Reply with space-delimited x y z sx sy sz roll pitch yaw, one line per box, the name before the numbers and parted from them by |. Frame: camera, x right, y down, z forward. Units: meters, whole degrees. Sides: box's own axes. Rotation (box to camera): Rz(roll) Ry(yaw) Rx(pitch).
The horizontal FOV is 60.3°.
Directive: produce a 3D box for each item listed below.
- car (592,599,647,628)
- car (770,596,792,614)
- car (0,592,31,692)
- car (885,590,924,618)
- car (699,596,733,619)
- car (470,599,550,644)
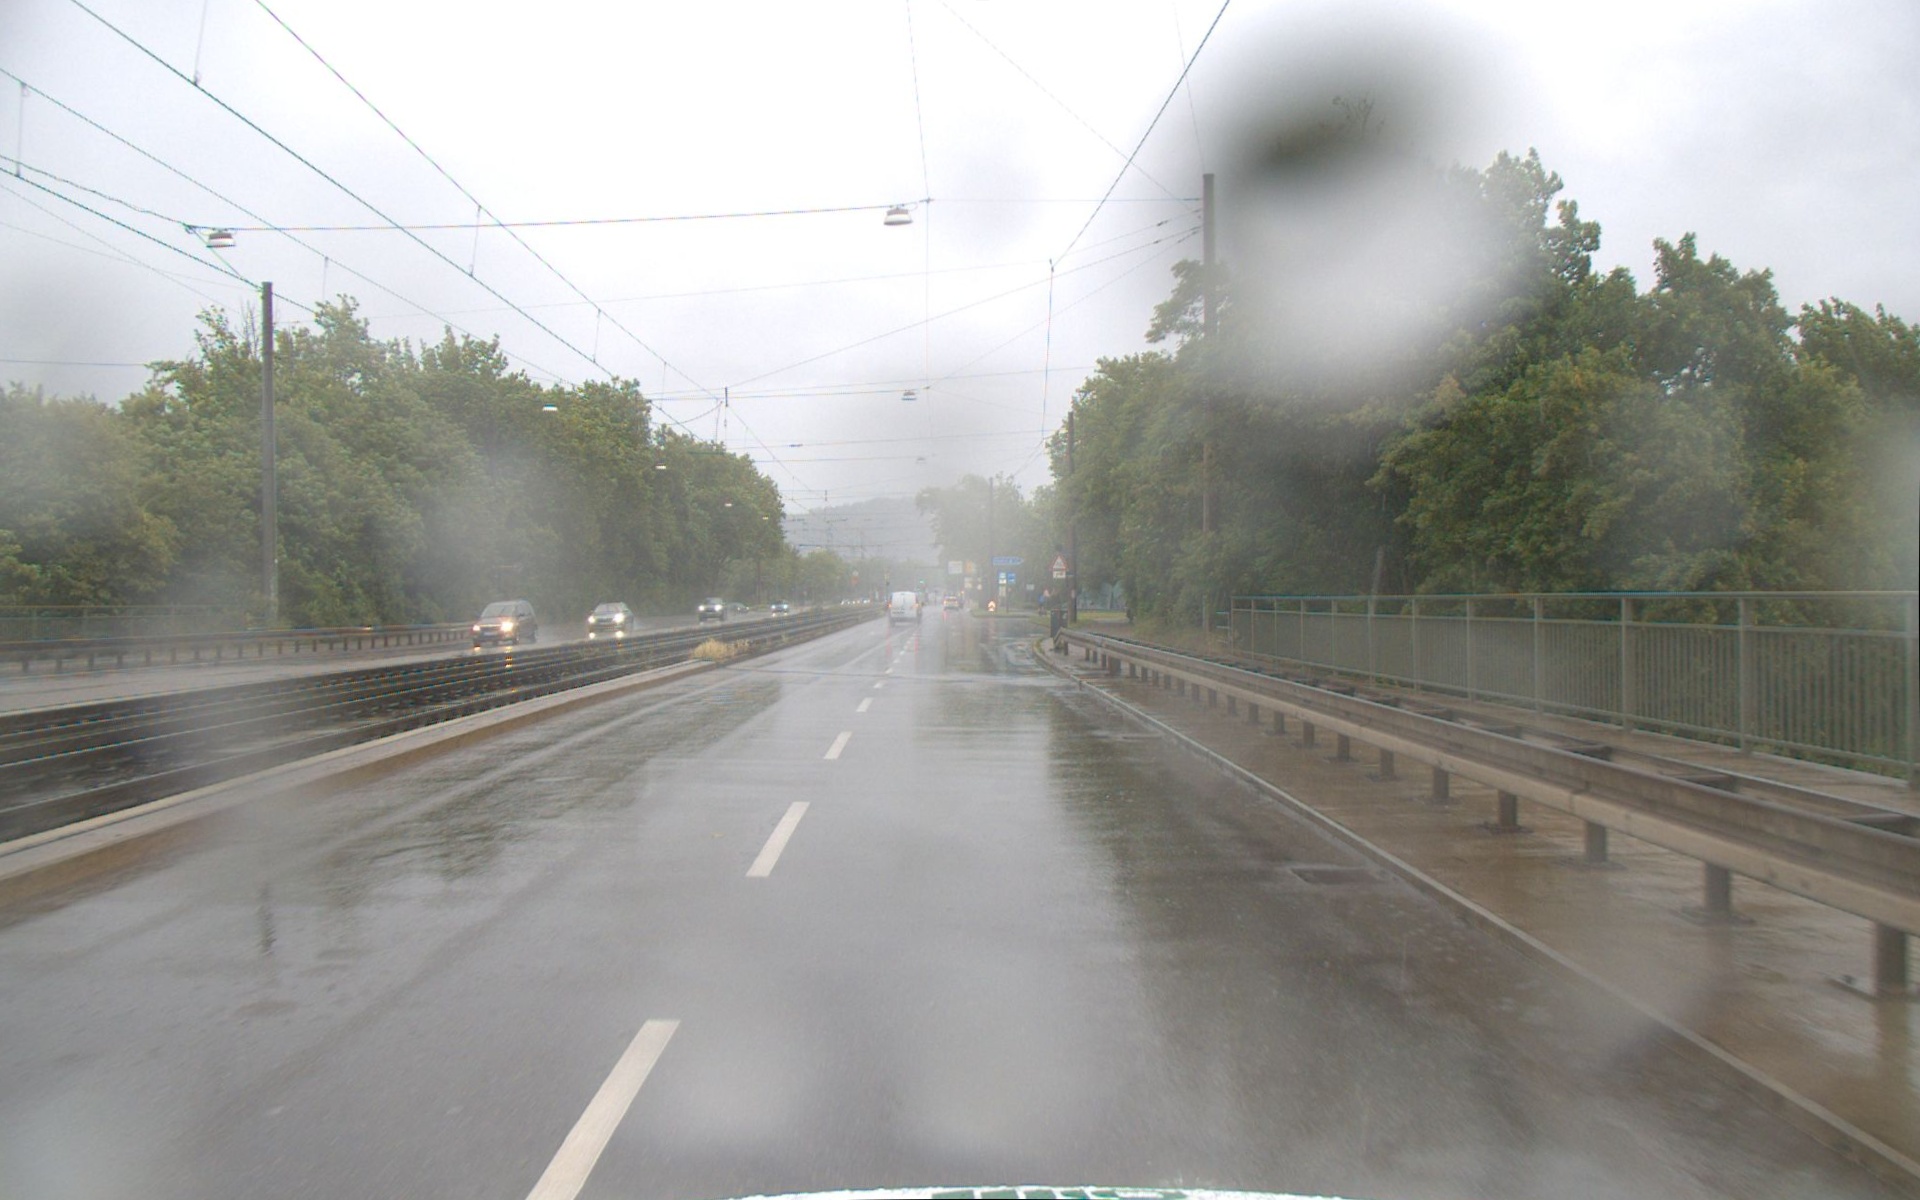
car | -17.479 0.670 85.192 1.953 1.413 4.852 0 0 -2
car | -20.049 0.593 185.018 1.954 1.813 3.999 4 0 -1
car | -16.397 0.676 25.597 1.808 1.622 3.999 0 0 -1
car | -3.015 0.217 90.684 2.035 1.445 3.999 -1 0 -1
car | -18.211 0.552 123.658 1.953 1.701 4.871 0 0 -2
car | -16.696 0.767 61.562 1.803 1.601 4.384 0 0 -1
